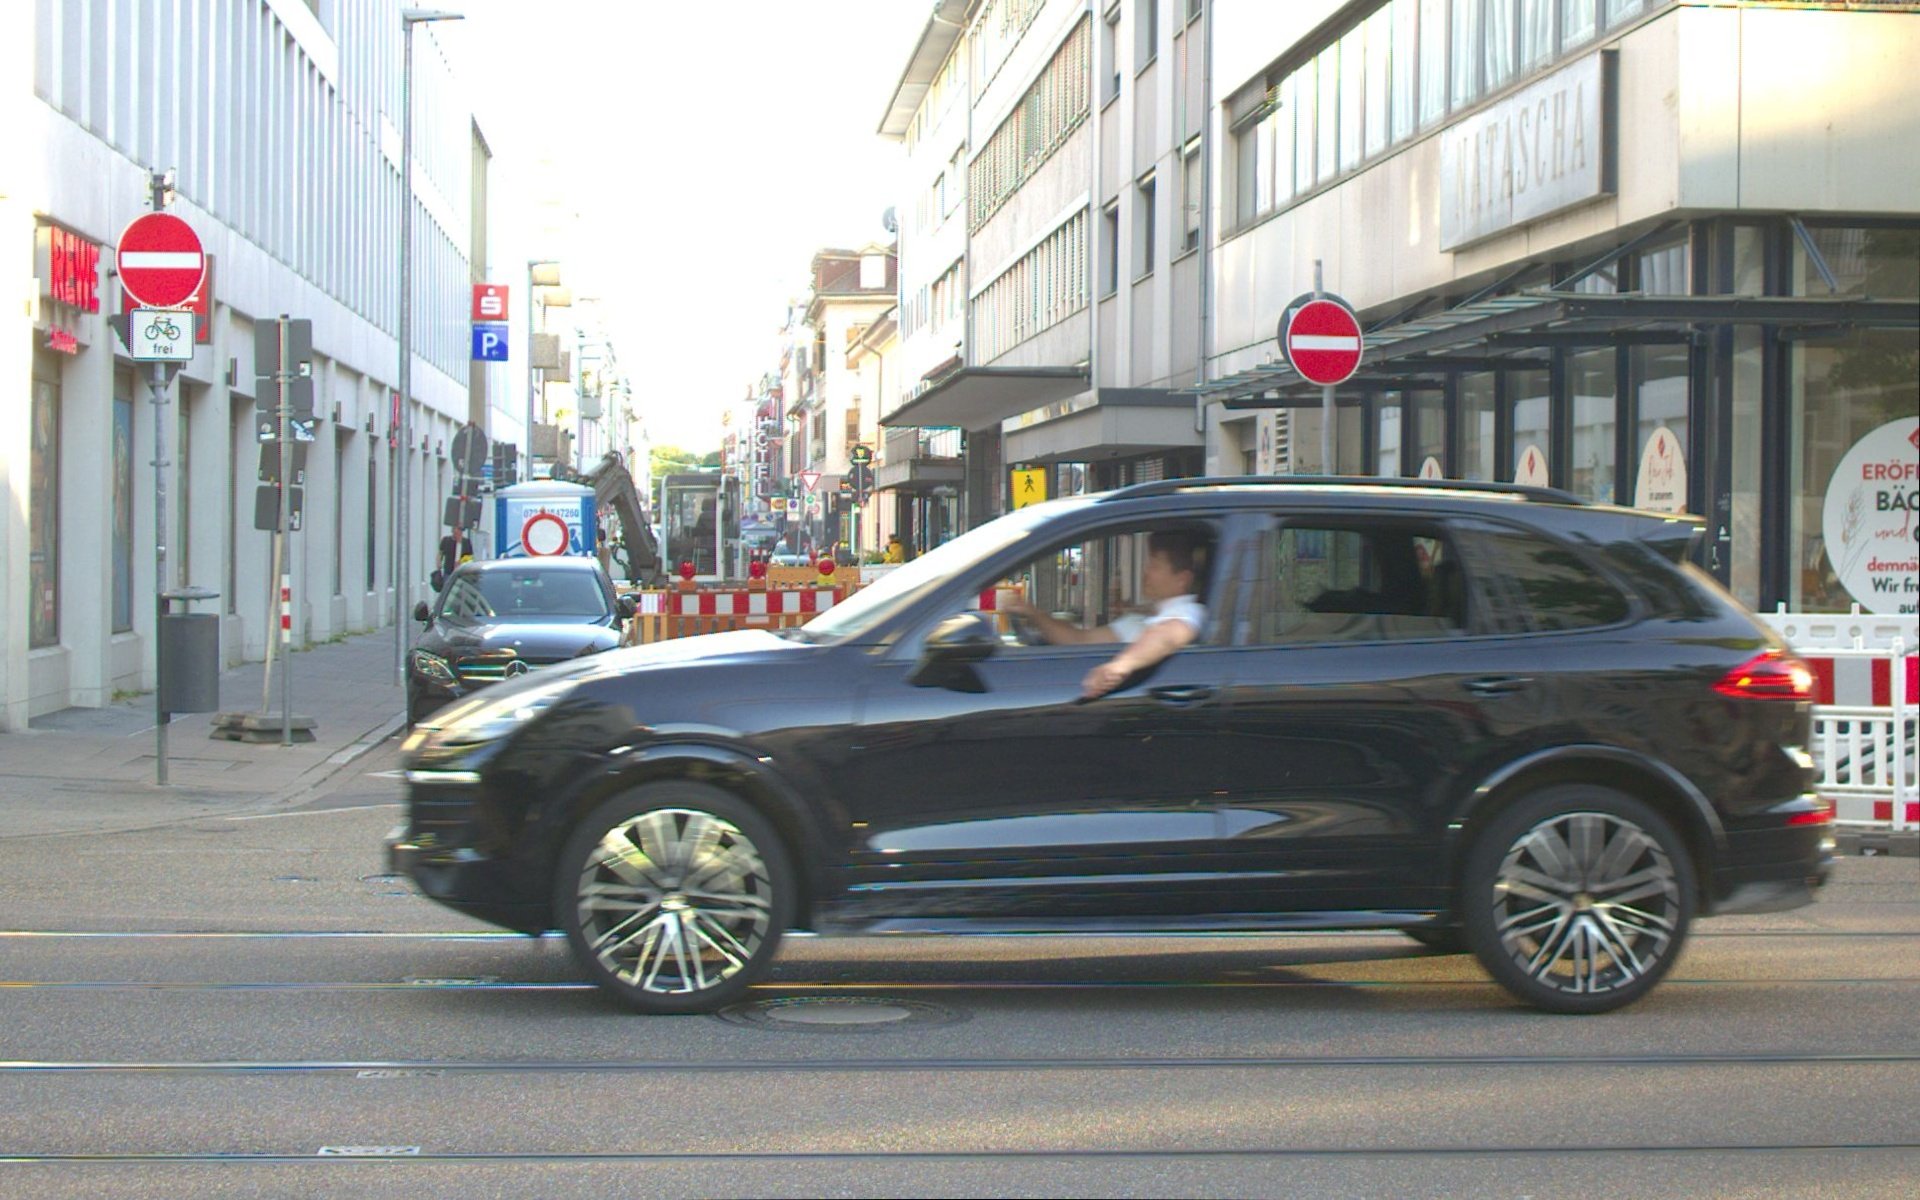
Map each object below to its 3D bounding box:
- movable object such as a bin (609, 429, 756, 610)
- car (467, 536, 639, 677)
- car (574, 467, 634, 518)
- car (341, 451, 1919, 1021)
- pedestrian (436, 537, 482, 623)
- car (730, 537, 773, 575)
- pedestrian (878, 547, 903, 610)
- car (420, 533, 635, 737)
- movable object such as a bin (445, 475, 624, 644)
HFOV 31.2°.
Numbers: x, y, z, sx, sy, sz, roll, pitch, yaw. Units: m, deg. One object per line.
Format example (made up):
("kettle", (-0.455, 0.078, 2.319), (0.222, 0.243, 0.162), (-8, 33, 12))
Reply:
("movable object such as a bin", (-4.287, -1.233, 53.089), (2.156, 2.654, 4.573), (0, 1, -5))
("car", (-4.476, 0.038, 37.619), (1.789, 1.446, 3.143), (0, 1, -8))
("car", (-12.637, -3.819, 122.338), (1.993, 1.770, 4.001), (-1, 1, -4))
("car", (0.498, 0.424, 11.701), (4.929, 1.720, 2.022), (1, 1, -4))
("pedestrian", (-8.579, -0.345, 58.884), (0.716, 1.459, 0.525), (0, 1, -2))
("car", (-10.145, -2.152, 167.096), (1.993, 1.770, 4.001), (-1, 1, -4))
("pedestrian", (-1.620, -0.502, 80.097), (0.524, 1.459, 0.718), (1, 1, 4))
("car", (-3.534, 0.234, 28.000), (1.629, 1.545, 3.143), (0, 1, -8))
("movable object such as a bin", (-5.298, -0.530, 43.232), (1.993, 2.007, 4.001), (-1, 1, -4))
